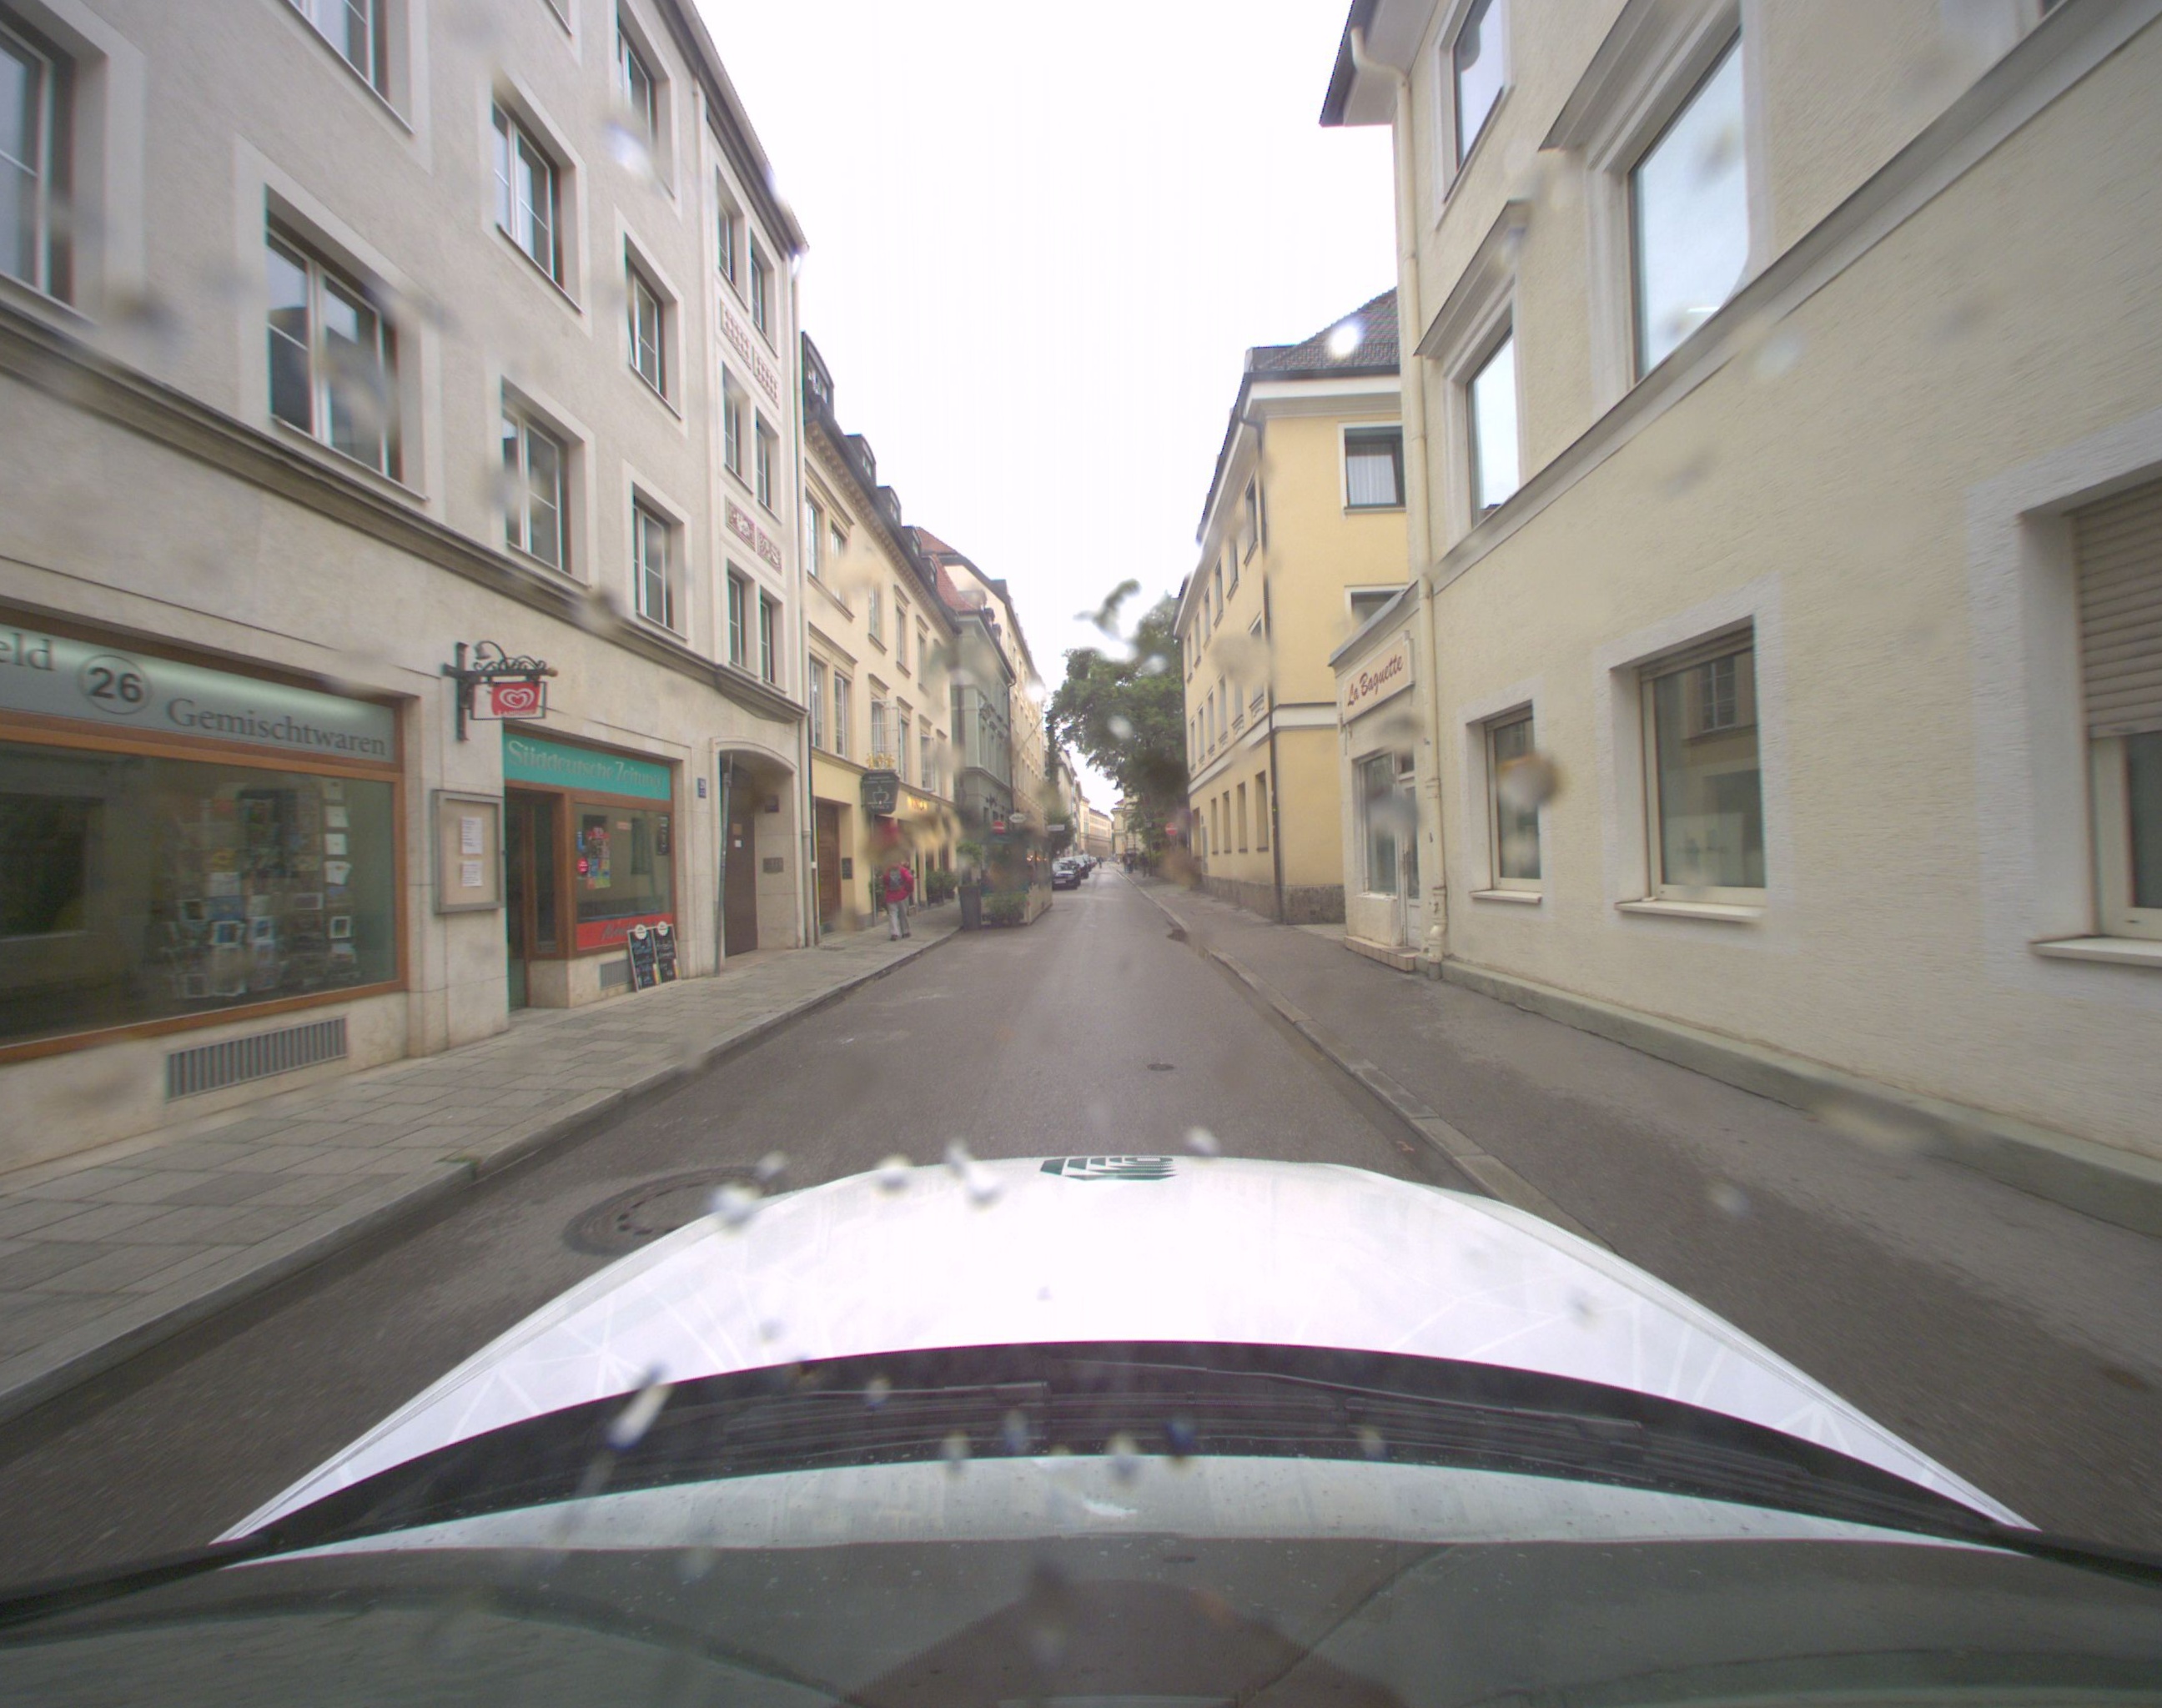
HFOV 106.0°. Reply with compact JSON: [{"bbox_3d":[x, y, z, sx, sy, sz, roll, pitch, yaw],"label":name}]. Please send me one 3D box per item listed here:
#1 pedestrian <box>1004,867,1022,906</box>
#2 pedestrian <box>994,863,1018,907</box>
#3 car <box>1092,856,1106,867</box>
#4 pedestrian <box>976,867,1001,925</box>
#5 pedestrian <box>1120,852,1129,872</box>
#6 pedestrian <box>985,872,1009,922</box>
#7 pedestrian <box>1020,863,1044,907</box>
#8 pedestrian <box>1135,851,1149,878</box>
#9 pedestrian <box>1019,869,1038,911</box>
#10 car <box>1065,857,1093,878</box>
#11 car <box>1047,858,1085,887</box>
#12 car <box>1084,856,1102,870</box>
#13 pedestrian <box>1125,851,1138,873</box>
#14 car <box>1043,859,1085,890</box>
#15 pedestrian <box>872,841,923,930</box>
[{"bbox_3d":[-2.218,1.043,26.543,0.508,1.237,0.630,-1,0,0],"label":"pedestrian"},{"bbox_3d":[-2.349,0.971,25.600,0.671,1.326,0.696,-1,0,-1],"label":"pedestrian"},{"bbox_3d":[2.492,1.020,112.440,1.771,1.466,3.546,-1,0,4],"label":"car"},{"bbox_3d":[-2.180,0.991,19.227,0.508,1.326,0.630,-1,0,0],"label":"pedestrian"},{"bbox_3d":[3.902,0.724,72.633,0.790,1.802,0.903,-1,0,2],"label":"pedestrian"},{"bbox_3d":[-2.076,1.059,20.230,0.508,1.187,0.630,-1,0,0],"label":"pedestrian"},{"bbox_3d":[-1.520,0.959,25.328,0.671,1.326,0.696,-1,0,-1],"label":"pedestrian"},{"bbox_3d":[4.094,0.704,54.852,0.877,1.802,1.047,-1,0,2],"label":"pedestrian"},{"bbox_3d":[-1.527,1.033,23.689,0.508,1.175,0.630,-1,0,0],"label":"pedestrian"},{"bbox_3d":[-0.131,0.959,60.355,1.771,1.466,3.546,-1,0,4],"label":"car"},{"bbox_3d":[-0.780,1.000,45.402,1.771,1.466,3.546,-1,0,4],"label":"car"},{"bbox_3d":[1.317,1.016,90.072,1.771,1.466,3.546,-1,0,4],"label":"car"},{"bbox_3d":[4.182,0.662,67.686,1.011,1.802,1.350,-1,0,2],"label":"pedestrian"},{"bbox_3d":[-0.810,0.985,40.922,1.771,1.466,3.667,-1,0,4],"label":"car"},{"bbox_3d":[-3.632,0.611,16.155,0.763,1.708,0.785,-2,0,-1],"label":"pedestrian"}]
